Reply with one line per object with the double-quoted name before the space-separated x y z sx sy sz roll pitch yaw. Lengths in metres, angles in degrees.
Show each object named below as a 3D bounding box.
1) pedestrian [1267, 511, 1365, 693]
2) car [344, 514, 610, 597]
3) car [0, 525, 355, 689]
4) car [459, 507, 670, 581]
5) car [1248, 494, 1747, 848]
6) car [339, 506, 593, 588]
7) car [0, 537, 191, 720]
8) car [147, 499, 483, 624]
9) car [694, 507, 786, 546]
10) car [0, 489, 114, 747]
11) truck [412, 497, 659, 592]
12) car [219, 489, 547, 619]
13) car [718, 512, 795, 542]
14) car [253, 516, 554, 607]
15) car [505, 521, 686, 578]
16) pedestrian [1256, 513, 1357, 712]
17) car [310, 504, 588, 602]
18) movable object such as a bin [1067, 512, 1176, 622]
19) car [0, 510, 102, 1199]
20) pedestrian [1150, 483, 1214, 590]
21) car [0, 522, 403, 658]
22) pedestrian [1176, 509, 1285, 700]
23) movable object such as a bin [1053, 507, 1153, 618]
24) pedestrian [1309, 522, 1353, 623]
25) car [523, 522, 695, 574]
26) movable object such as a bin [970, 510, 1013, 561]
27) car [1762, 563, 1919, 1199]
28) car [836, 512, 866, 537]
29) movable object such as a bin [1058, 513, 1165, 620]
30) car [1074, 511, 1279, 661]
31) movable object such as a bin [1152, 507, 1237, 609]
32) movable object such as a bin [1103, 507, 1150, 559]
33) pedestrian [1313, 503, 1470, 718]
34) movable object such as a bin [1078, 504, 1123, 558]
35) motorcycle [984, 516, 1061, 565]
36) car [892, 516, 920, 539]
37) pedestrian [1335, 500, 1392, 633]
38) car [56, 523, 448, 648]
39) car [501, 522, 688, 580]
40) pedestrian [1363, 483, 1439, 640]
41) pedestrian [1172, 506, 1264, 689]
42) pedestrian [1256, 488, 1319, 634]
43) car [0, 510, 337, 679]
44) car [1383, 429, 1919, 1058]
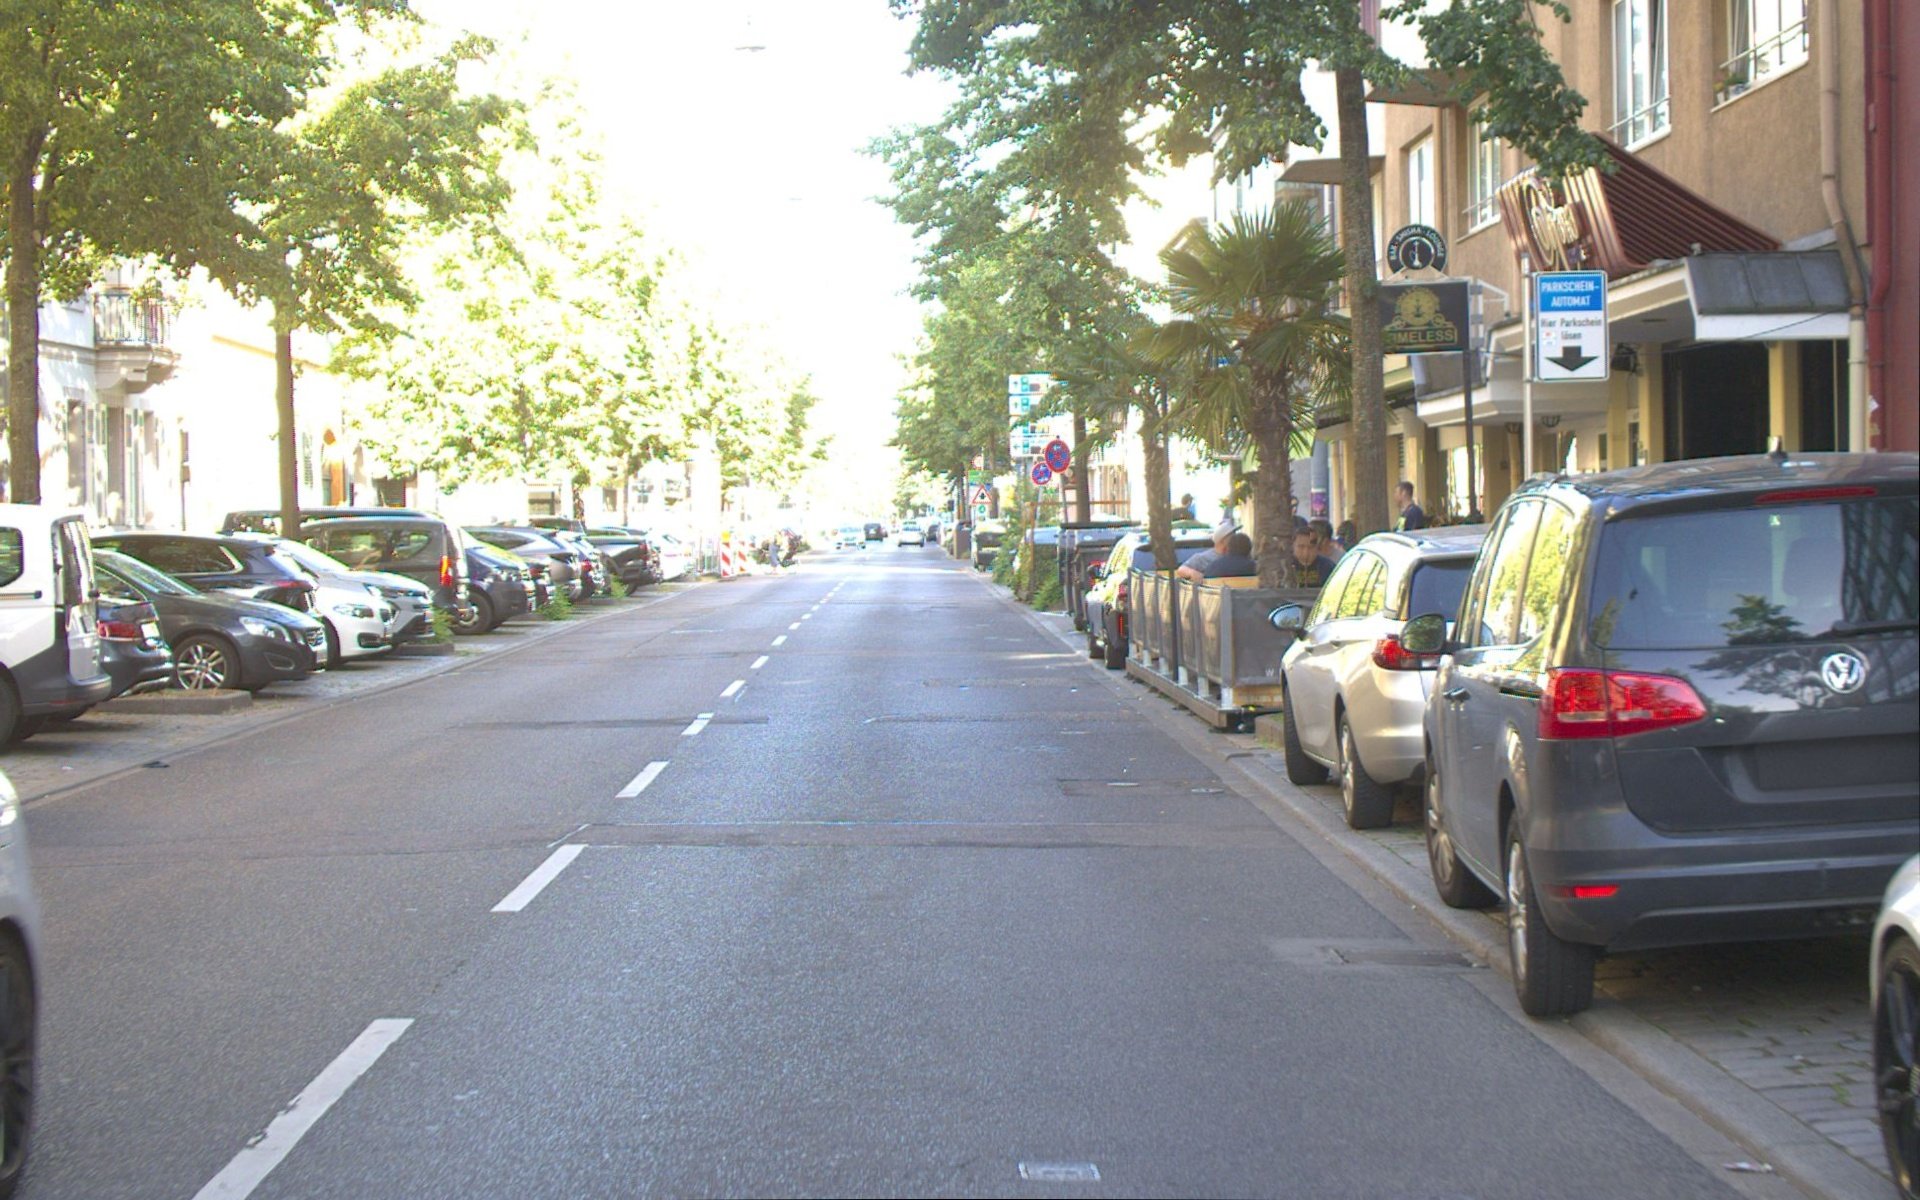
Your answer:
"pedestrian" 3.056 0.008 29.452 0.712 1.531 0.769 -1 1 14
"car" -8.978 -0.834 64.125 4.680 1.514 1.808 0 1 1
"car" -8.276 0.049 33.290 4.466 1.535 1.916 0 1 1
"car" -9.164 -1.309 79.895 4.680 1.687 1.808 0 1 1
"car" 2.768 0.280 18.806 1.822 1.591 4.842 -3 1 -1
"car" -9.610 -1.046 67.108 4.680 1.566 1.808 0 1 1
"car" -8.610 0.210 27.940 4.339 1.434 1.917 0 1 -2
"car" -9.272 -0.563 49.649 4.466 1.766 1.917 0 1 1
"car" -10.107 -3.393 158.134 3.987 1.688 2.000 -1 2 4
"car" -8.470 0.117 25.086 4.338 1.827 1.917 0 1 -10
"truck" -9.153 -1.210 74.486 5.084 1.931 2.000 -1 1 -1
"car" -8.787 -0.707 52.628 4.680 1.943 1.917 0 1 1
"car" -10.706 -3.859 180.897 3.986 1.494 2.000 -1 2 -2
"car" -9.024 -0.640 55.984 4.645 1.454 1.684 0 1 -1
"car" -9.560 -1.337 90.422 4.680 1.460 1.808 0 1 -4
"pedestrian" 2.722 0.088 27.061 0.692 1.531 0.776 -1 1 0
"car" -9.087 -0.842 61.360 4.680 1.706 1.808 0 1 1
"movable object such as a bin" 2.189 -0.461 46.775 1.399 1.449 1.146 -1 1 -1
"car" -3.077 0.600 6.304 1.910 1.539 4.354 0 1 0
"pedestrian" 4.025 -1.155 62.358 0.926 1.929 0.760 0 2 24
"car" -8.895 -0.137 40.277 4.466 1.535 1.917 0 1 -1
"pedestrian" 2.224 0.027 28.174 0.750 1.531 0.807 -1 1 14
"movable object such as a bin" 2.034 -0.541 49.105 1.330 1.537 1.146 -1 1 -1
"pedestrian" 4.340 -0.323 40.209 0.443 1.159 0.501 -1 1 0
"car" -9.714 -1.446 95.436 4.680 1.407 1.808 0 1 -4
"movable object such as a bin" 0.974 -2.011 107.290 1.143 1.556 1.459 -1 1 7
"car" 2.925 0.639 6.016 1.822 1.398 4.842 -3 1 0
"car" -6.751 -4.686 212.532 1.802 1.430 4.410 -3 1 -2
"movable object such as a bin" 2.101 -0.478 47.943 1.399 1.449 1.146 -1 1 -1
"car" 2.339 -0.204 38.223 1.822 1.467 4.912 -3 1 -1
"movable object such as a bin" 3.342 -0.610 49.118 1.077 1.426 1.295 -1 1 -1
"movable object such as a bin" 5.014 -2.031 103.386 1.270 1.525 1.177 -1 1 -2
"pedestrian" 3.156 0.065 25.220 1.056 1.531 0.892 -1 1 3
"movable object such as a bin" 4.284 -2.103 104.746 1.205 1.622 1.498 -1 1 -2
"motorcycle" 1.761 -1.677 96.964 1.977 1.325 0.912 -1 2 -13
"car" -3.485 -4.676 220.717 1.792 1.406 4.001 -1 2 -1
"pedestrian" 5.025 -0.423 42.836 0.616 1.636 0.762 -1 1 2
"car" -8.816 -0.197 43.066 4.466 1.535 1.916 0 1 3
"car" -9.292 -1.259 87.712 4.680 1.460 1.808 0 1 -4
"pedestrian" 4.799 -0.419 37.425 0.502 1.690 0.630 -2 1 -38
"pedestrian" 2.207 -0.034 29.472 0.650 1.531 0.980 -1 1 -2
"pedestrian" 3.834 -0.460 40.318 0.616 1.690 0.762 -1 1 -2
"car" -8.821 -0.078 35.771 4.339 1.703 1.917 0 1 -1
"car" 2.676 0.335 12.439 1.822 1.771 4.930 -3 1 3
